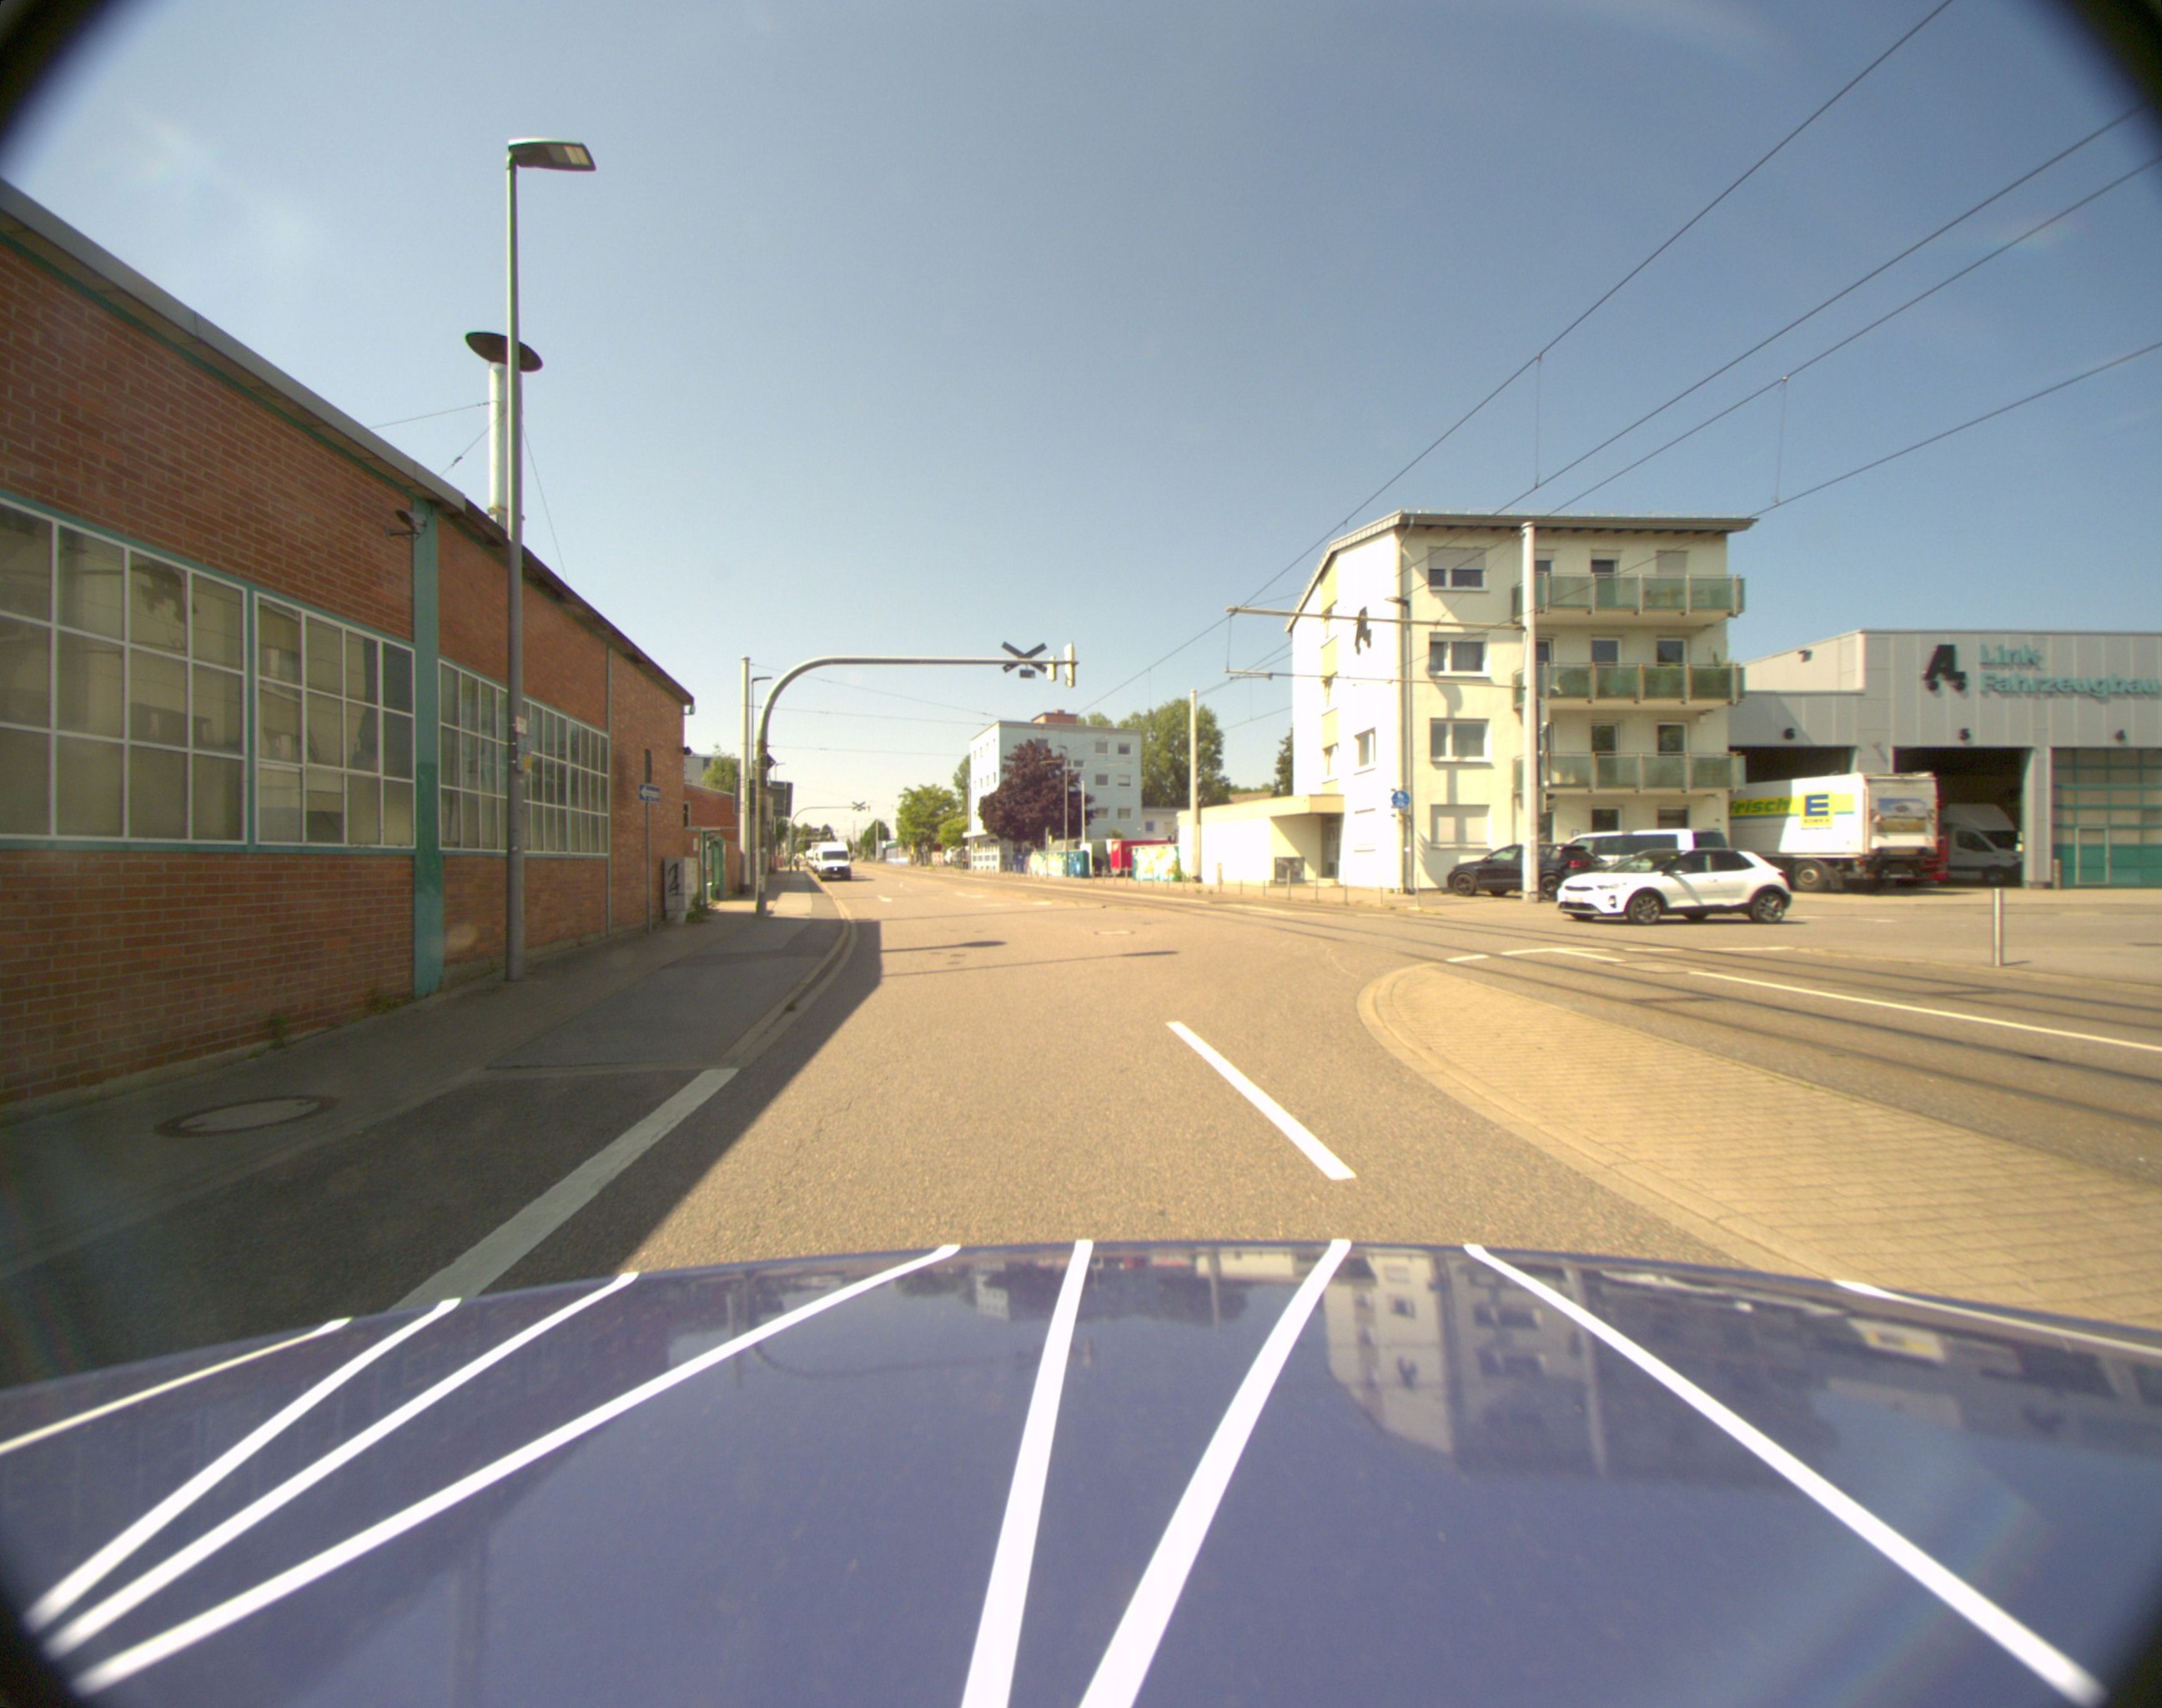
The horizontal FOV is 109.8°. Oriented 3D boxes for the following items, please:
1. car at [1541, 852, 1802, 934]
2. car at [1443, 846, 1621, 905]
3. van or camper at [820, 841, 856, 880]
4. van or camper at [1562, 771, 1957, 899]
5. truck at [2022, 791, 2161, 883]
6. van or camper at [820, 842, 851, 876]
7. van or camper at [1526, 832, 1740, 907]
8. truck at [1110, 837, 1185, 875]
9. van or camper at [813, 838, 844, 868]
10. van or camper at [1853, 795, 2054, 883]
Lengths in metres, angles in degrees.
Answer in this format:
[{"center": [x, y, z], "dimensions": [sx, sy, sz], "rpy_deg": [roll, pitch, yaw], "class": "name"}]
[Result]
[{"center": [11.835, 0.735, 15.369], "dimensions": [4.108, 1.521, 1.737], "rpy_deg": [0, 0, -6], "class": "car"}, {"center": [12.684, 0.552, 21.628], "dimensions": [1.883, 1.512, 3.965], "rpy_deg": [0, 0, -27], "class": "car"}, {"center": [-16.809, 0.427, 52.409], "dimensions": [2.046, 2.519, 5.858], "rpy_deg": [0, 0, -21], "class": "van or camper"}, {"center": [23.433, -0.662, 27.882], "dimensions": [2.781, 3.672, 11.625], "rpy_deg": [0, 1, -9], "class": "van or camper"}, {"center": [45.354, -0.706, 31.574], "dimensions": [2.623, 3.760, 7.859], "rpy_deg": [0, 0, -1], "class": "truck"}, {"center": [-19.179, 0.368, 59.261], "dimensions": [2.046, 2.519, 5.572], "rpy_deg": [0, 0, -21], "class": "van or camper"}, {"center": [15.536, 0.378, 21.723], "dimensions": [2.002, 1.897, 4.547], "rpy_deg": [0, 1, -22], "class": "van or camper"}, {"center": [4.728, 0.122, 54.133], "dimensions": [4.837, 2.611, 2.186], "rpy_deg": [0, 0, -15], "class": "truck"}, {"center": [-24.439, -0.064, 73.417], "dimensions": [2.527, 2.770, 7.103], "rpy_deg": [0, 0, -21], "class": "van or camper"}, {"center": [34.350, -0.516, 30.201], "dimensions": [1.999, 3.187, 5.057], "rpy_deg": [-1, 0, -4], "class": "van or camper"}]
